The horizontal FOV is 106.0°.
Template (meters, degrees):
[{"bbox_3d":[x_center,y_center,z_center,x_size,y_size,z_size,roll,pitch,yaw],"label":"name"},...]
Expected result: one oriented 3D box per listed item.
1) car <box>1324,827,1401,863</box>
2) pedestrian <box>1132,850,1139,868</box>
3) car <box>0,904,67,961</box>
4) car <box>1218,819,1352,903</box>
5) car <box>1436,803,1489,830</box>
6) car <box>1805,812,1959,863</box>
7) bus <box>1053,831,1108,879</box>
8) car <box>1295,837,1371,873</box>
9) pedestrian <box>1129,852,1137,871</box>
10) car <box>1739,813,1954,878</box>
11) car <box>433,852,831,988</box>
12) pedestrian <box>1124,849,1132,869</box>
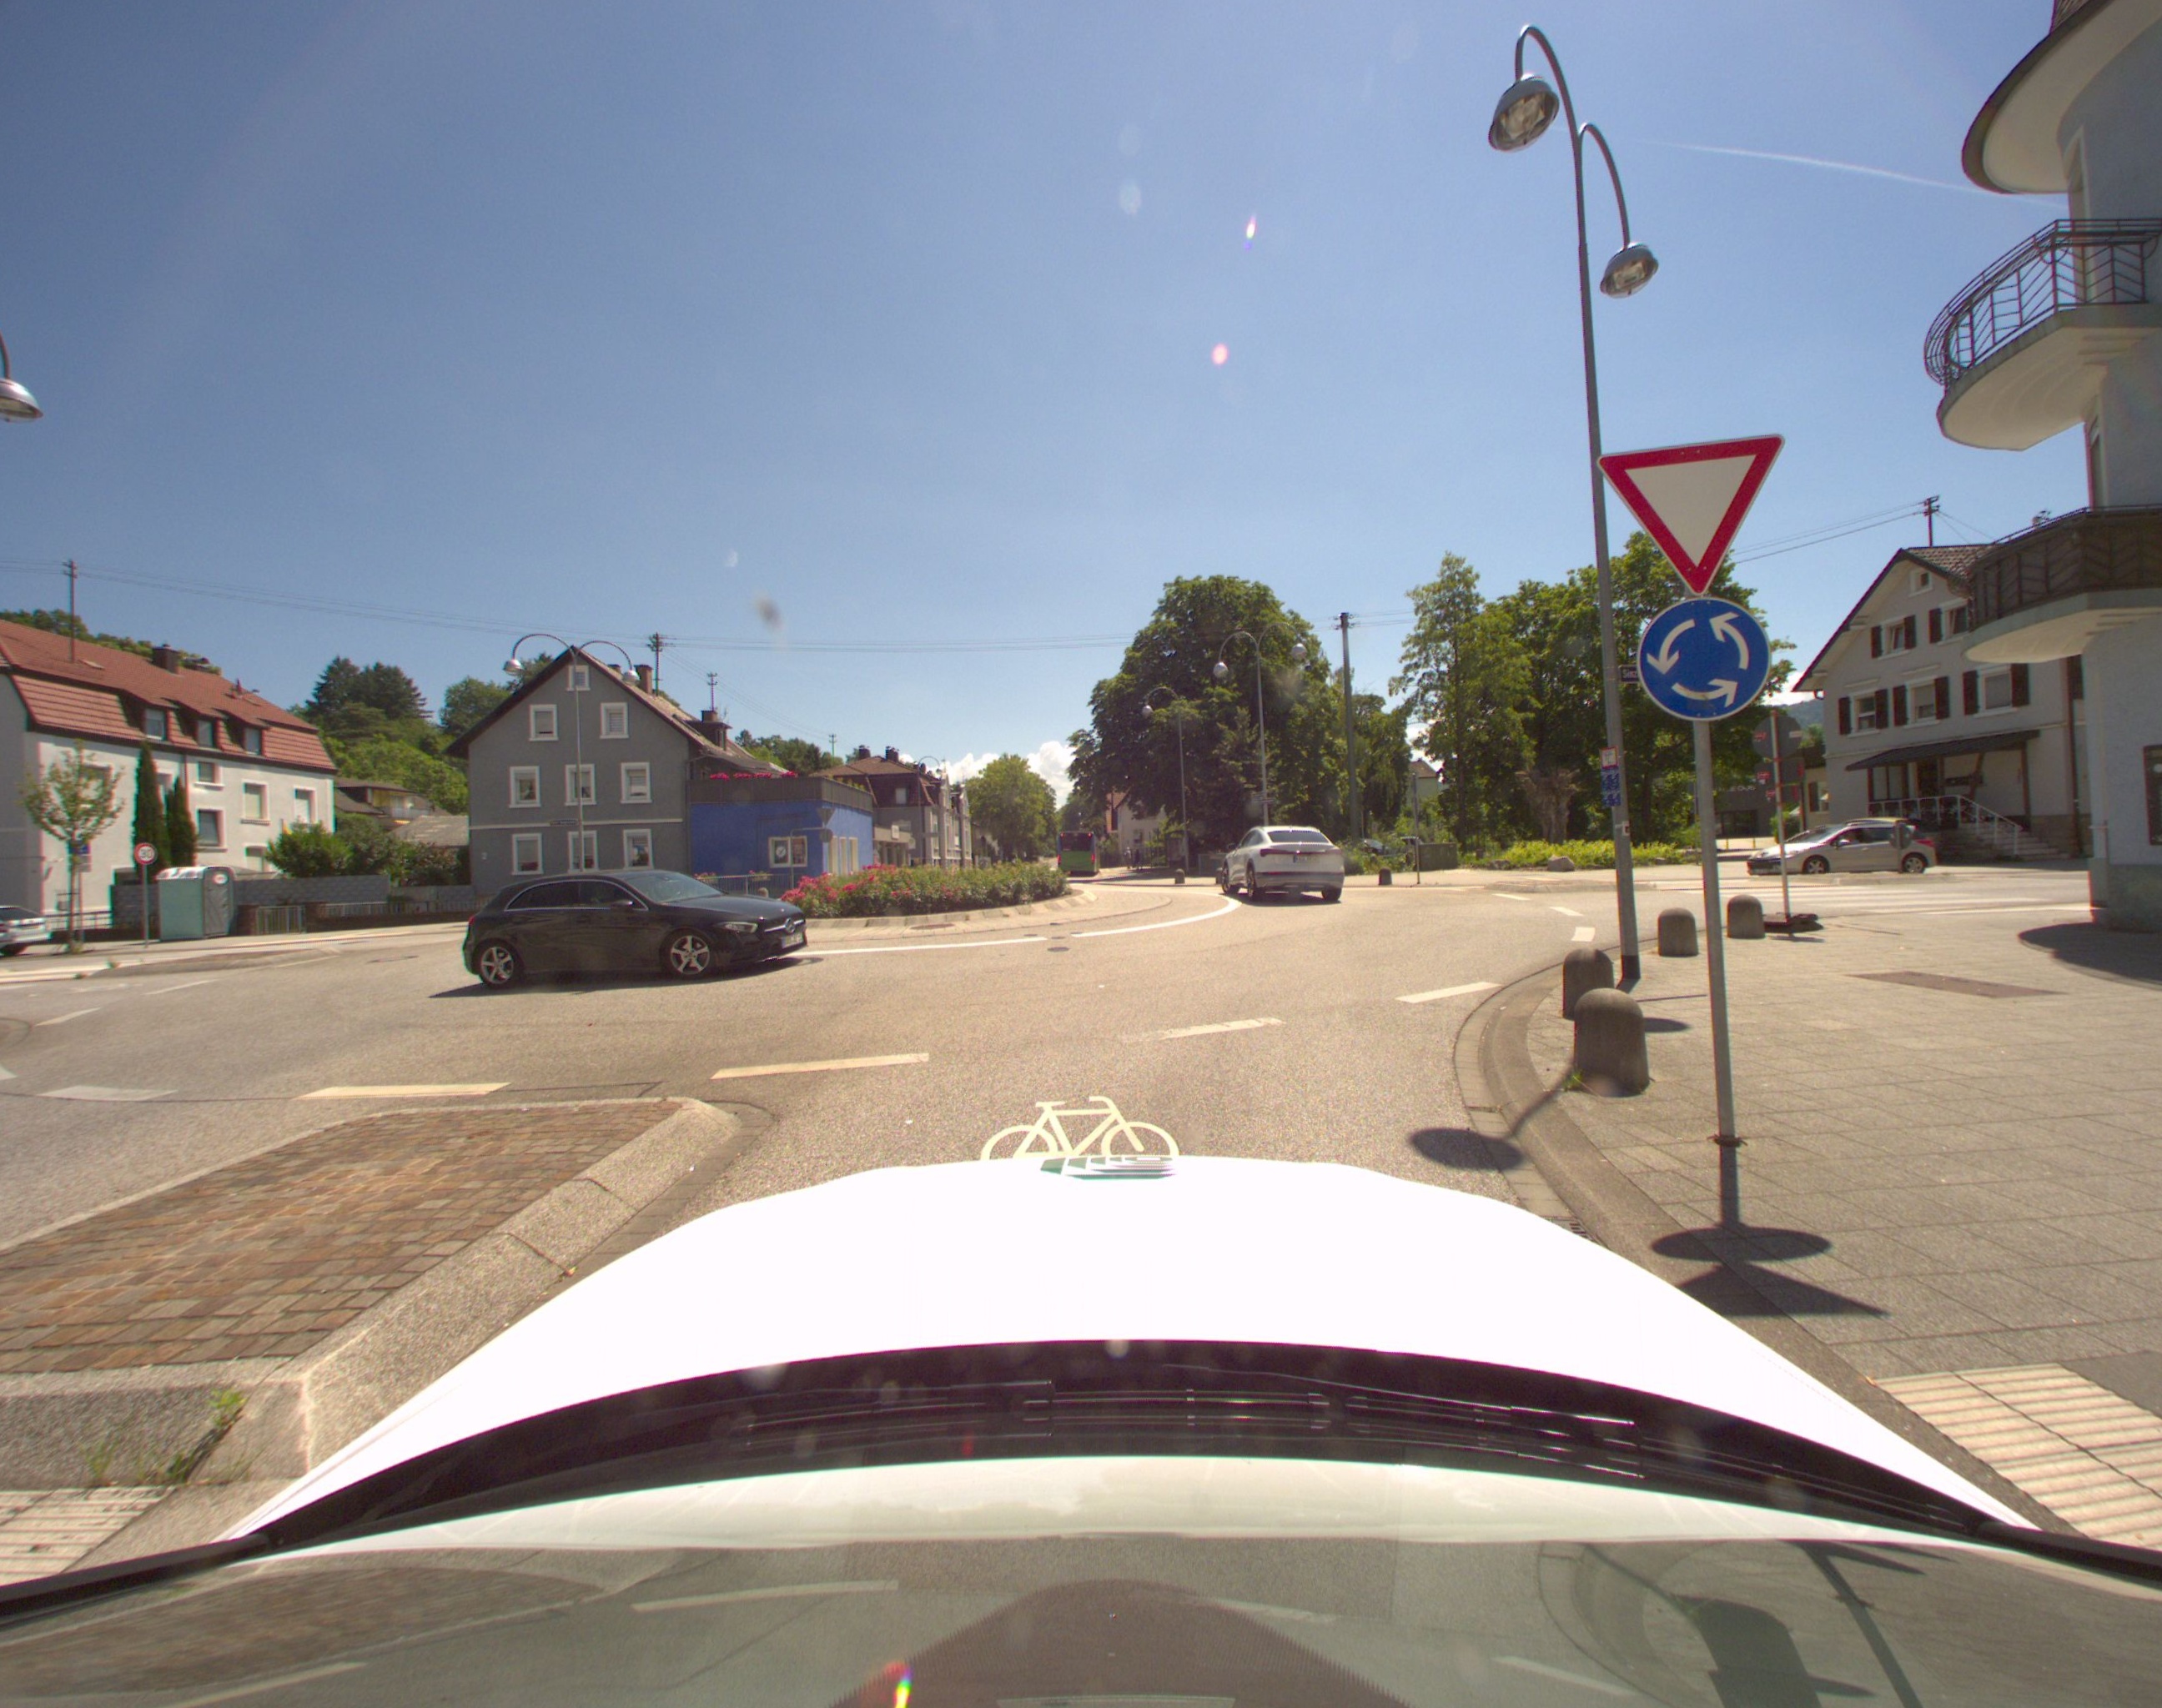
[{"bbox_3d":[17.310,-0.539,50.179,2.011,2.013,3.953,-2,0,-40],"label":"car"},{"bbox_3d":[4.590,0.415,68.362,0.488,1.522,0.541,-2,0,-6],"label":"pedestrian"},{"bbox_3d":[-31.124,2.240,22.204,4.075,1.391,1.600,-2,2,-17],"label":"car"},{"bbox_3d":[4.517,0.131,18.739,1.893,1.662,4.407,-2,0,-1],"label":"car"},{"bbox_3d":[32.254,-3.162,68.869,3.950,2.013,2.012,-3,0,26],"label":"car"},{"bbox_3d":[29.022,-0.567,29.694,1.745,1.640,4.003,-2,0,3],"label":"car"},{"bbox_3d":[0.220,0.103,63.484,3.693,3.171,18.074,-1,0,2],"label":"bus"},{"bbox_3d":[12.126,0.065,39.296,3.053,1.552,1.627,-3,0,-14],"label":"car"},{"bbox_3d":[4.012,0.547,62.891,0.488,1.454,0.529,-2,0,-6],"label":"pedestrian"},{"bbox_3d":[20.916,-0.227,22.385,4.177,1.516,1.747,-3,0,2],"label":"car"},{"bbox_3d":[-5.884,0.838,10.929,4.398,1.457,1.773,-3,2,9],"label":"car"},{"bbox_3d":[3.786,0.393,65.980,0.501,1.650,0.578,-2,0,-6],"label":"pedestrian"}]
